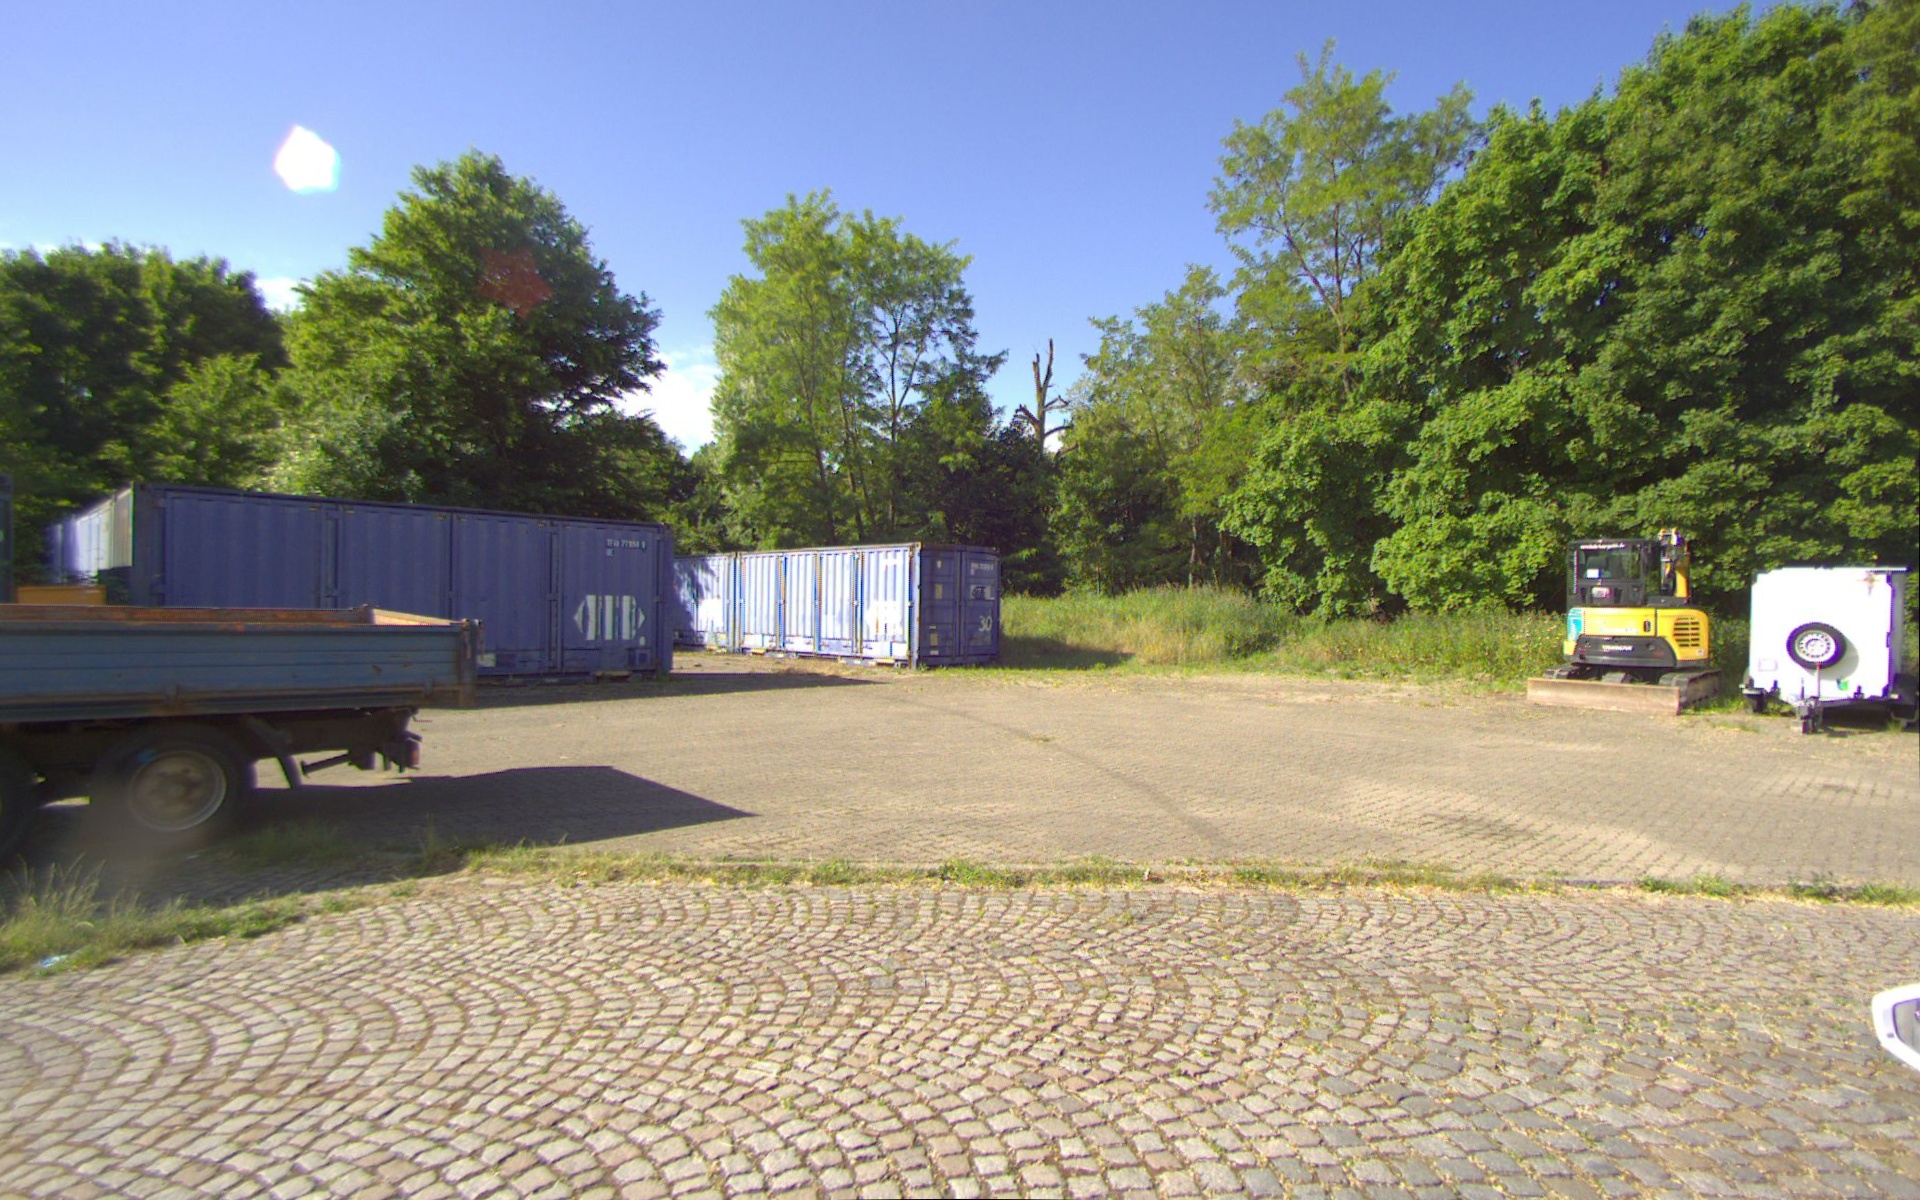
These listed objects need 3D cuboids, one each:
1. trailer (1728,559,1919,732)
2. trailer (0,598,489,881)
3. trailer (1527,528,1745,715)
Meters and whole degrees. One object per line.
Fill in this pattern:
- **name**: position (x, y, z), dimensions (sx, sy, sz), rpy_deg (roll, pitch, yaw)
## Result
- **trailer**: position (11.896, 0.530, 13.710), dimensions (2.830, 2.078, 1.801), rpy_deg (0, 1, -43)
- **trailer**: position (-5.847, 0.716, 6.101), dimensions (4.830, 1.433, 2.614), rpy_deg (2, -1, -45)
- **trailer**: position (10.502, 0.225, 15.600), dimensions (2.829, 2.573, 2.237), rpy_deg (-4, 3, -43)
